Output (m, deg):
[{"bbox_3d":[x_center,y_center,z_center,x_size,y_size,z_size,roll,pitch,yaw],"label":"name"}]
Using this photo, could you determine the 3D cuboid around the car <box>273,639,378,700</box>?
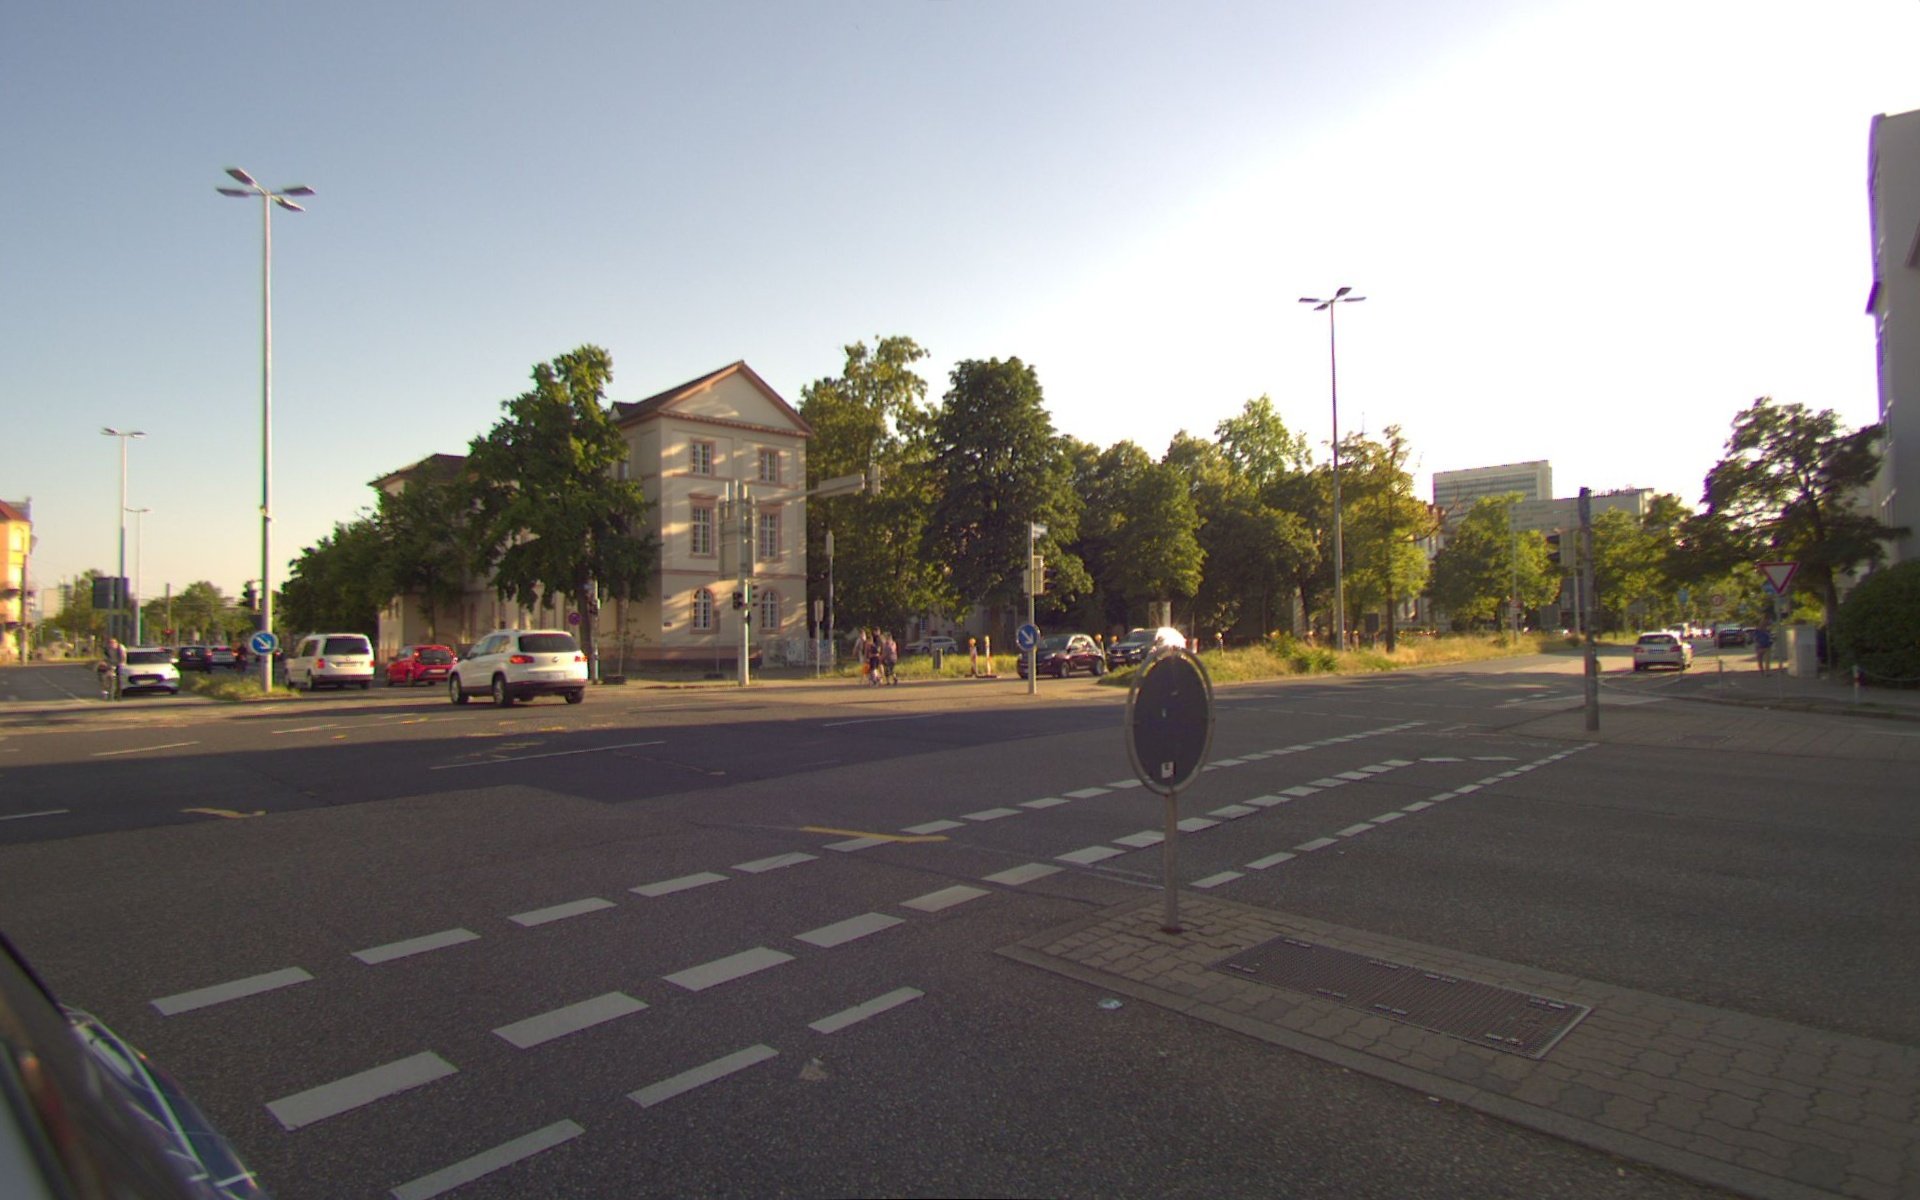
[{"bbox_3d":[-21.278,2.294,33.852,4.947,1.861,1.807,-3,-3,43],"label":"car"}]

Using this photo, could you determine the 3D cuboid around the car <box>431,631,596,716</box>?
[{"bbox_3d":[-10.102,1.600,22.751,4.441,1.719,1.807,-3,-3,43],"label":"car"}]

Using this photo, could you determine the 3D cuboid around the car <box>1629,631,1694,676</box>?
[{"bbox_3d":[28.838,2.191,41.708,1.994,1.741,3.955,-3,-3,33],"label":"car"}]

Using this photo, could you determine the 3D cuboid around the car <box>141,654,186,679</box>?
[{"bbox_3d":[-51.195,4.248,64.988,4.294,1.474,1.740,-3,-3,45],"label":"car"}]

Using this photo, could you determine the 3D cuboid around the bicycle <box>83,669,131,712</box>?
[{"bbox_3d":[-24.040,2.534,28.511,2.081,1.116,0.822,-3,-3,45],"label":"bicycle"}]

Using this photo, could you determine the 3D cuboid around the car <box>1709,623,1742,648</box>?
[{"bbox_3d":[65.659,3.058,86.763,1.999,2.029,3.946,-3,-3,40],"label":"car"}]

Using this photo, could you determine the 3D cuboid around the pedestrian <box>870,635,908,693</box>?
[{"bbox_3d":[-2.071,1.859,29.454,0.882,1.663,0.670,-3,-3,38],"label":"pedestrian"}]

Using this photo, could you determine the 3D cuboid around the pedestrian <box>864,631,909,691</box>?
[{"bbox_3d":[-2.361,1.952,32.431,1.168,1.863,0.810,-3,-3,38],"label":"pedestrian"}]

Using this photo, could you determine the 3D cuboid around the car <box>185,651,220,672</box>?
[{"bbox_3d":[-63.998,5.200,85.515,4.294,1.648,1.740,-3,-3,45],"label":"car"}]

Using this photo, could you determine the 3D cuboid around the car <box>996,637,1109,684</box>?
[{"bbox_3d":[3.140,1.990,33.877,1.999,1.457,3.596,-3,-3,42],"label":"car"}]

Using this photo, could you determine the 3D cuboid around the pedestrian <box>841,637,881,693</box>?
[{"bbox_3d":[-3.105,2.026,31.808,1.083,1.721,0.670,-3,-3,38],"label":"pedestrian"}]

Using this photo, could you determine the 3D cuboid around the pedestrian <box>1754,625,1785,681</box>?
[{"bbox_3d":[26.554,1.735,33.216,0.696,1.804,0.476,-3,-3,36],"label":"pedestrian"}]

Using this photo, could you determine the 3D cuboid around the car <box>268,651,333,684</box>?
[{"bbox_3d":[-31.545,3.207,48.378,4.294,1.474,1.740,-3,-3,45],"label":"car"}]

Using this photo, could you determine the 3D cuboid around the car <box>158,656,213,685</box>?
[{"bbox_3d":[-41.306,3.739,53.968,4.294,1.474,1.740,-3,-3,45],"label":"car"}]

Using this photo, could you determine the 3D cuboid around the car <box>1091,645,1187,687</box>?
[{"bbox_3d":[6.863,2.504,38.635,1.999,1.457,3.596,-3,-3,42],"label":"car"}]

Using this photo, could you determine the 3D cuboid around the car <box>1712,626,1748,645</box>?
[{"bbox_3d":[60.877,2.794,79.964,1.999,1.497,3.946,-3,-3,40],"label":"car"}]

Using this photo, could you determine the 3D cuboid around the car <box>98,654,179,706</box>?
[{"bbox_3d":[-26.451,2.528,32.539,1.739,1.510,3.711,1,-3,-43],"label":"car"}]

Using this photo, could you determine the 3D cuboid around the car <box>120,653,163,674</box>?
[{"bbox_3d":[-60.847,4.736,75.219,4.294,1.474,2.019,-3,-3,45],"label":"car"}]

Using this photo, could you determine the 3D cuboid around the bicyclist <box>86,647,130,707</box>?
[{"bbox_3d":[-23.979,2.158,28.489,1.024,1.616,0.827,-4,-4,44],"label":"bicyclist"}]

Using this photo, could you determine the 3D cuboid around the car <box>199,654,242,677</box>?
[{"bbox_3d":[-50.204,4.413,68.677,4.294,1.474,1.740,-3,-3,45],"label":"car"}]

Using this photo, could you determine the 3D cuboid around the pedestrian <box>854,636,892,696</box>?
[{"bbox_3d":[-2.477,1.862,28.749,0.888,1.663,0.613,-3,-3,38],"label":"pedestrian"}]

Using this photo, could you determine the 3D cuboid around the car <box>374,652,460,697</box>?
[{"bbox_3d":[-19.437,2.628,36.169,3.814,1.489,1.687,-3,-3,45],"label":"car"}]

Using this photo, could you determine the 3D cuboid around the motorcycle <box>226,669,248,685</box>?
[{"bbox_3d":[-42.610,4.535,59.640,2.161,0.886,0.631,-3,-3,43],"label":"motorcycle"}]

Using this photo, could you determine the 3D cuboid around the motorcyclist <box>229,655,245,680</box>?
[{"bbox_3d":[-42.565,3.956,59.604,0.756,1.417,0.612,-3,-3,42],"label":"motorcyclist"}]
